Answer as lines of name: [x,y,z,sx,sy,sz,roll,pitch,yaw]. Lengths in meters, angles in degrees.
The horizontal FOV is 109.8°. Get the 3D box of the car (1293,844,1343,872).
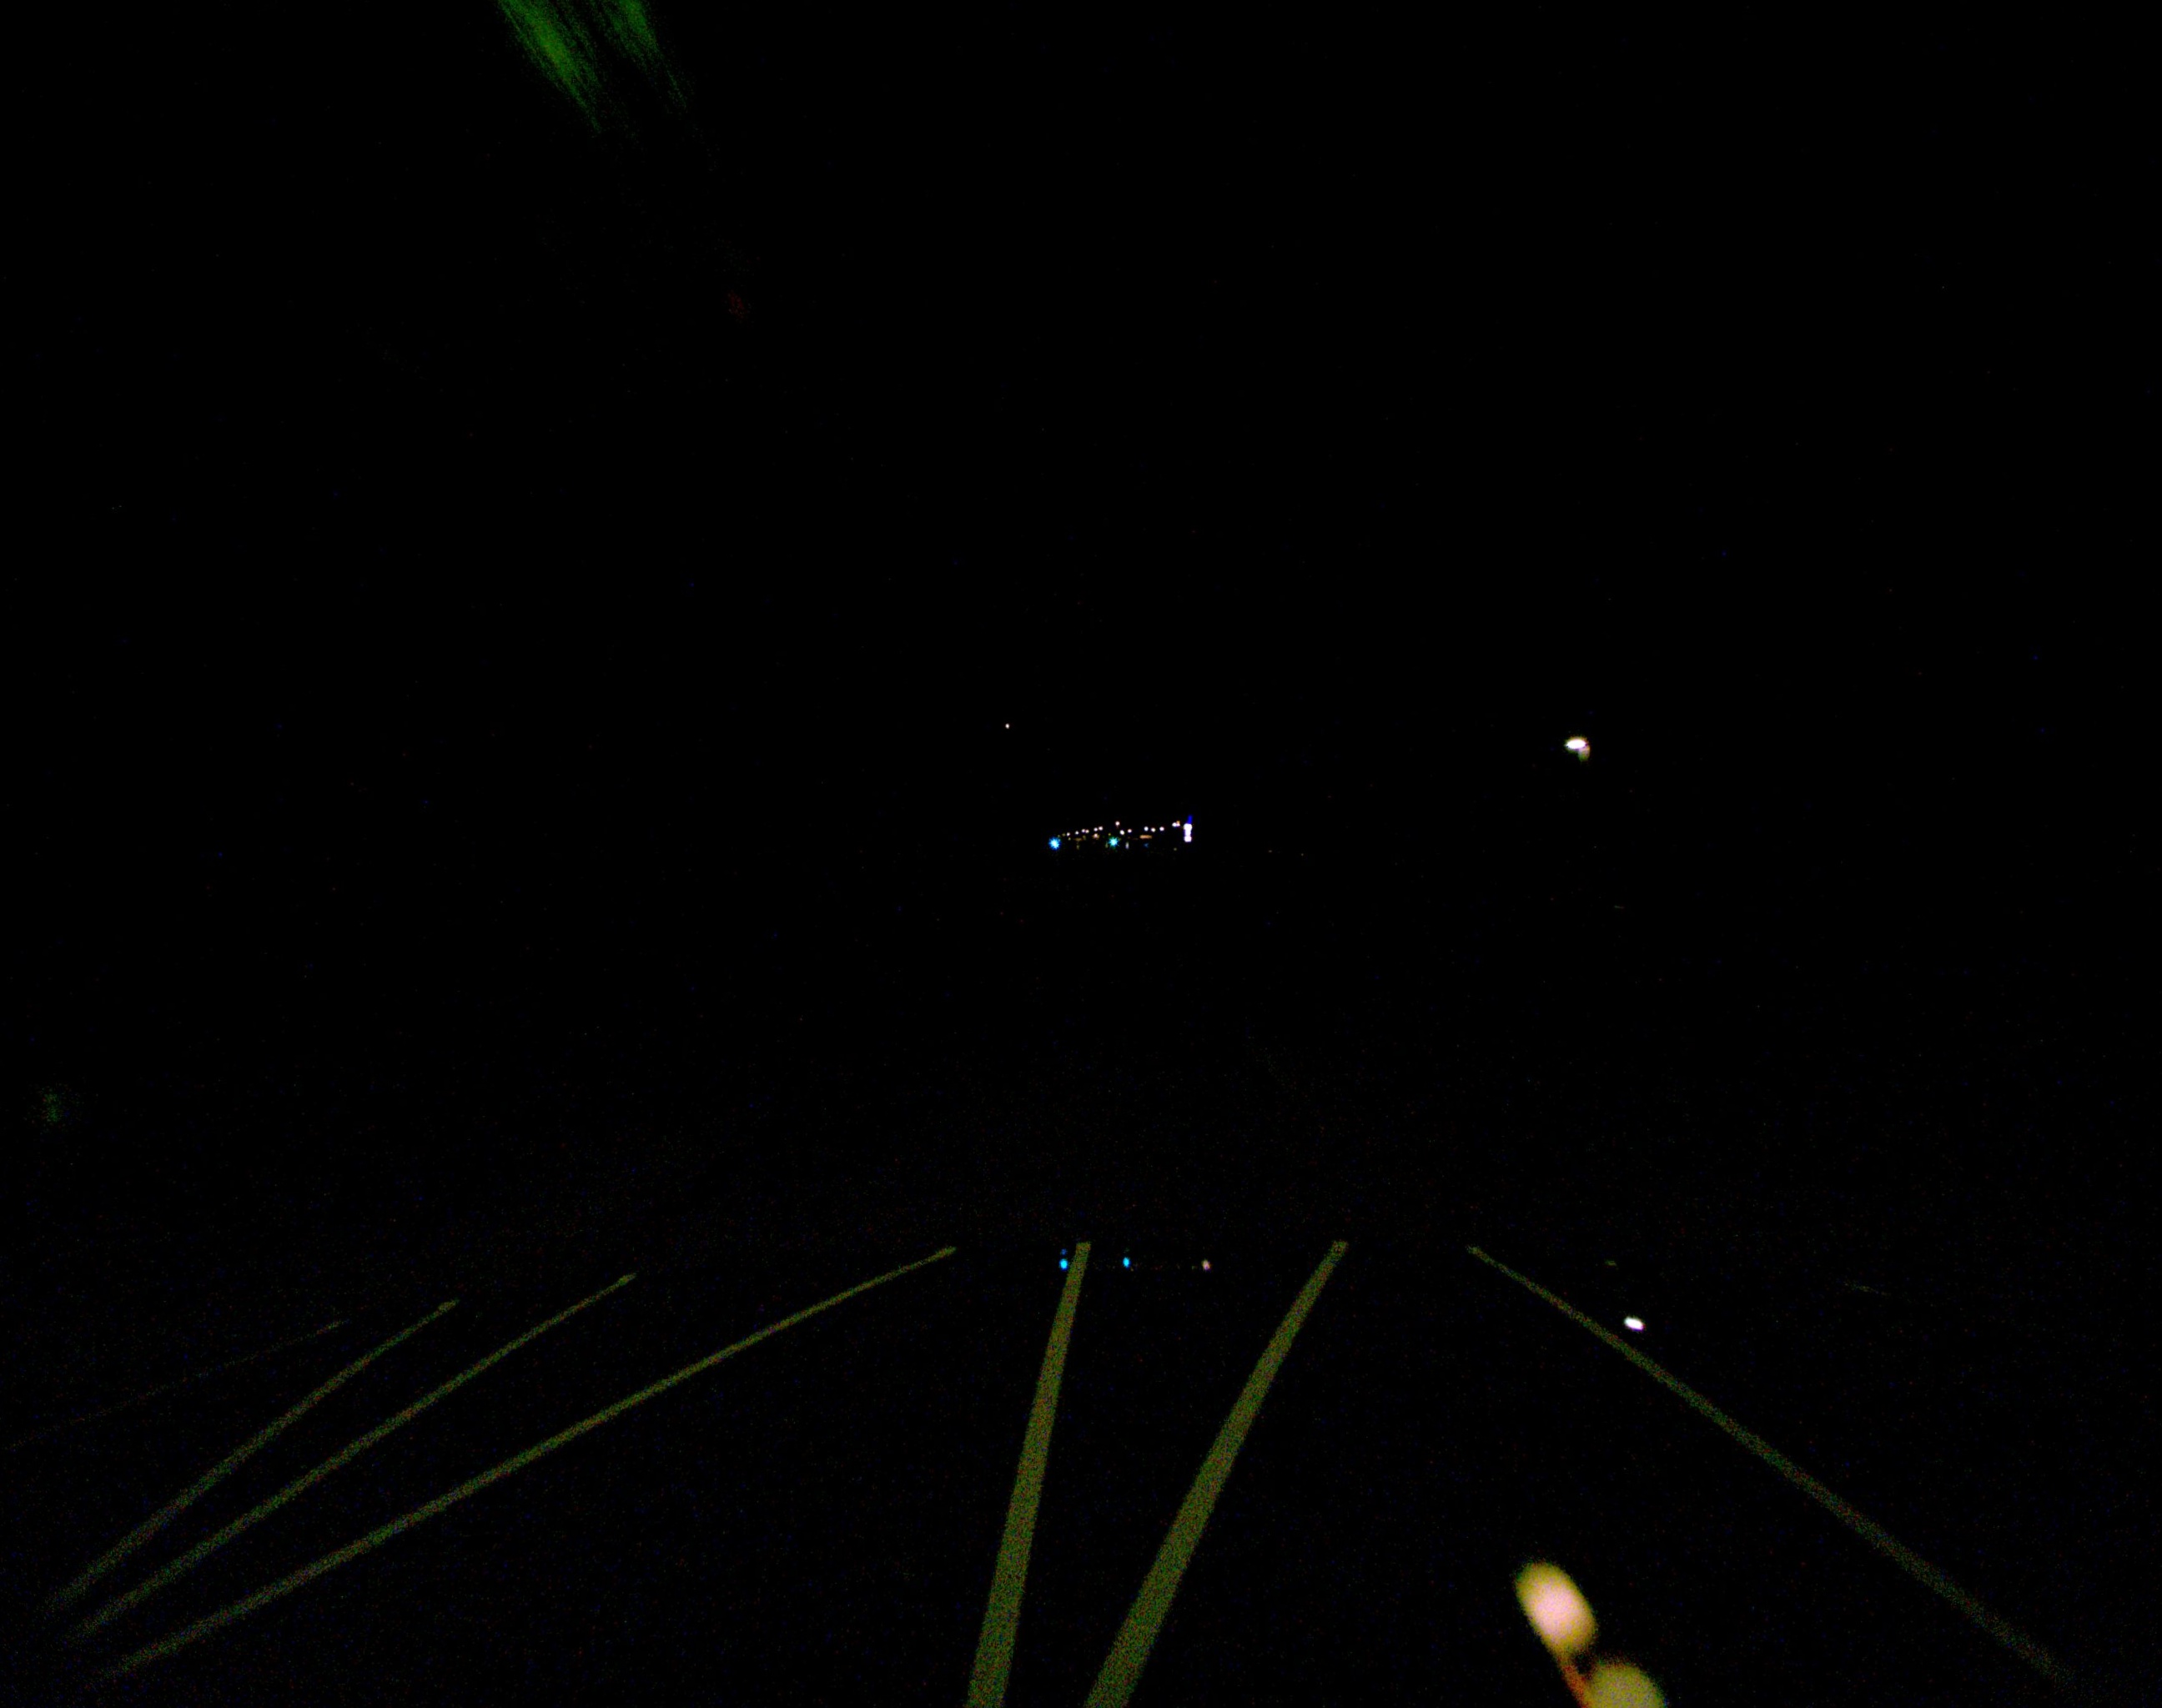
car: [16.184,0.209,52.208,2.124,1.761,4.721,2,1,3]

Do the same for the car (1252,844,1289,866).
car: [16.200,0.074,65.105,2.124,1.761,4.721,2,1,3]

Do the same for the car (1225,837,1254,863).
car: [16.374,-0.454,78.917,2.164,2.498,4.721,2,1,3]
